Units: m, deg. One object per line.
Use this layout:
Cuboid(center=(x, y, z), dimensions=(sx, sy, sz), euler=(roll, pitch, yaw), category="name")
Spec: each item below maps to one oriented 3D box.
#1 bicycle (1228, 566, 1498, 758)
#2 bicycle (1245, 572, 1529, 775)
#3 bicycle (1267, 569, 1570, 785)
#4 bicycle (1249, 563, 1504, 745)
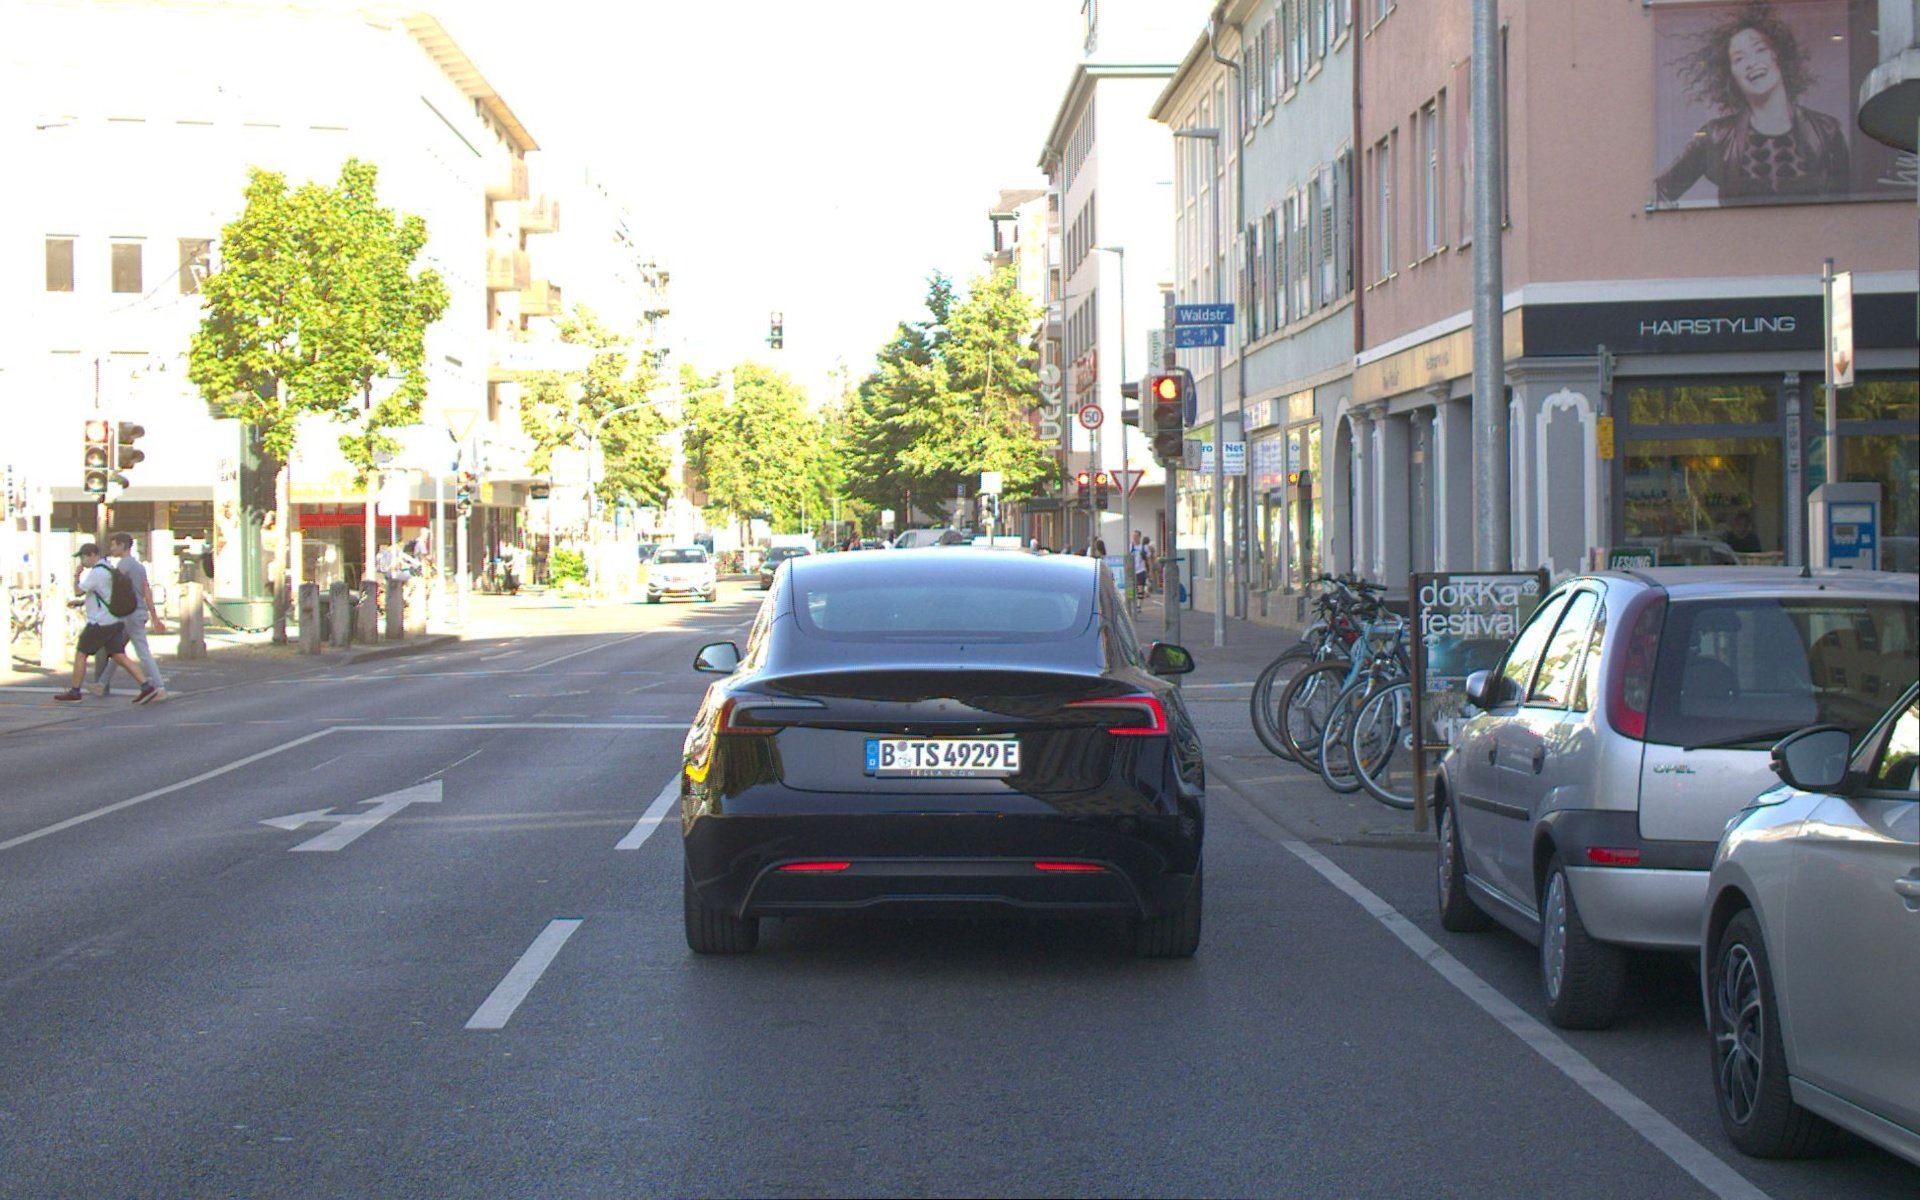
Cuboid(center=(2.557, 0.390, 21.863), dimensions=(1.627, 1.156, 0.433), euler=(-2, 1, -1), category="bicycle")
Cuboid(center=(2.577, 0.438, 20.789), dimensions=(1.627, 1.156, 0.433), euler=(-2, 1, -1), category="bicycle")
Cuboid(center=(2.590, 0.430, 19.480), dimensions=(1.627, 1.156, 0.433), euler=(-2, 1, -1), category="bicycle")
Cuboid(center=(2.782, 0.355, 23.041), dimensions=(1.628, 1.156, 0.433), euler=(-2, 1, 1), category="bicycle")
